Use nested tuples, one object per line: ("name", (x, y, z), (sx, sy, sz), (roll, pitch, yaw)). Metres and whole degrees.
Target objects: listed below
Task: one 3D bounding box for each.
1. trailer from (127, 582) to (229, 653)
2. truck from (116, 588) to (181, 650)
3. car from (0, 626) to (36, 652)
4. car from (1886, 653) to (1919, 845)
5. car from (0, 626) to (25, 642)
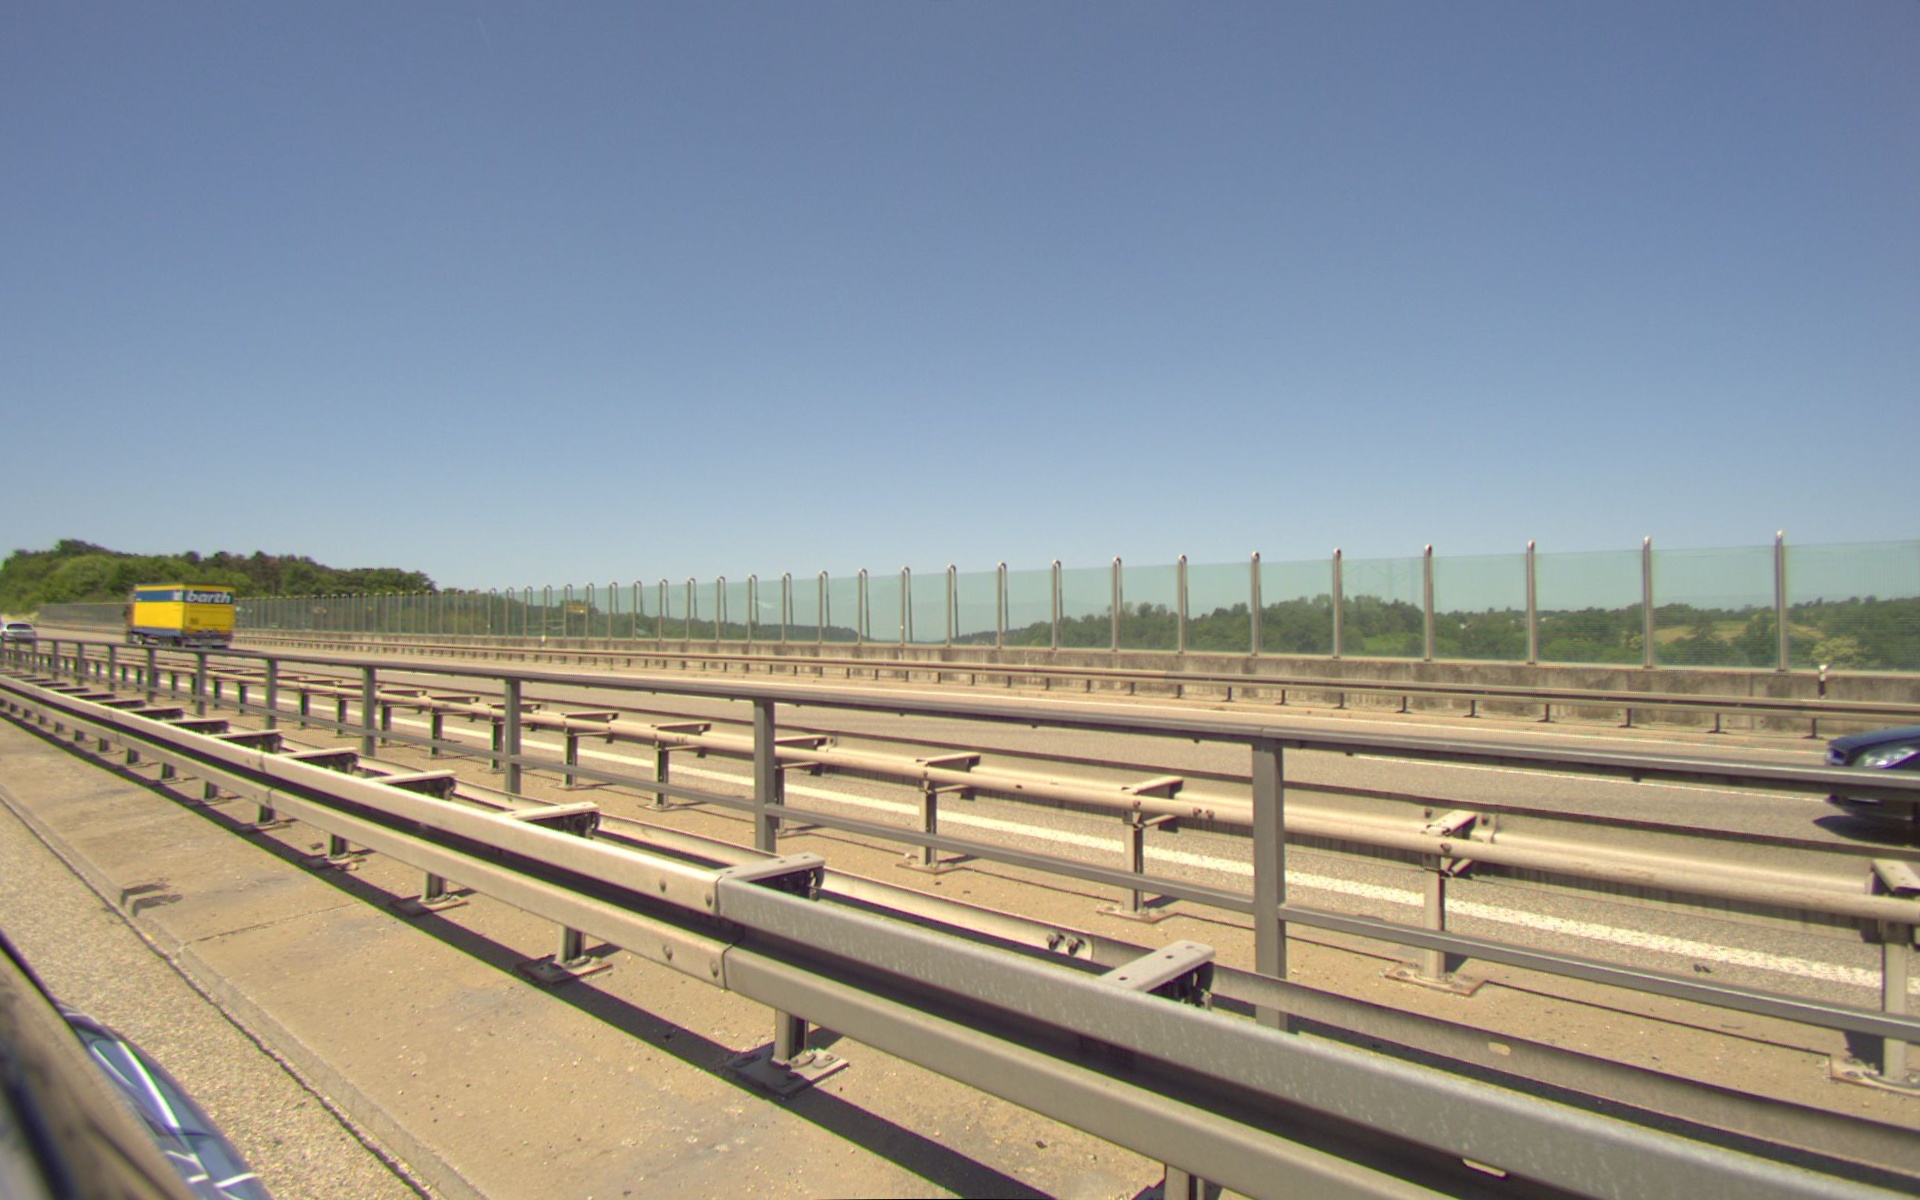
("trailer", (-49.585, 1.161, 63.920), (13.794, 4.094, 2.397), (-1, -3, 41))
("truck", (-55.292, 1.304, 68.942), (5.540, 4.089, 2.389), (-1, -3, 41))
("car", (-55.207, 2.263, 58.775), (4.284, 1.460, 1.739), (-1, -3, 40))
("car", (9.355, 1.132, 6.706), (4.673, 1.408, 1.836), (-1, -4, 41))
("car", (-85.515, 3.072, 90.864), (4.075, 1.392, 1.744), (-1, -3, 40))
